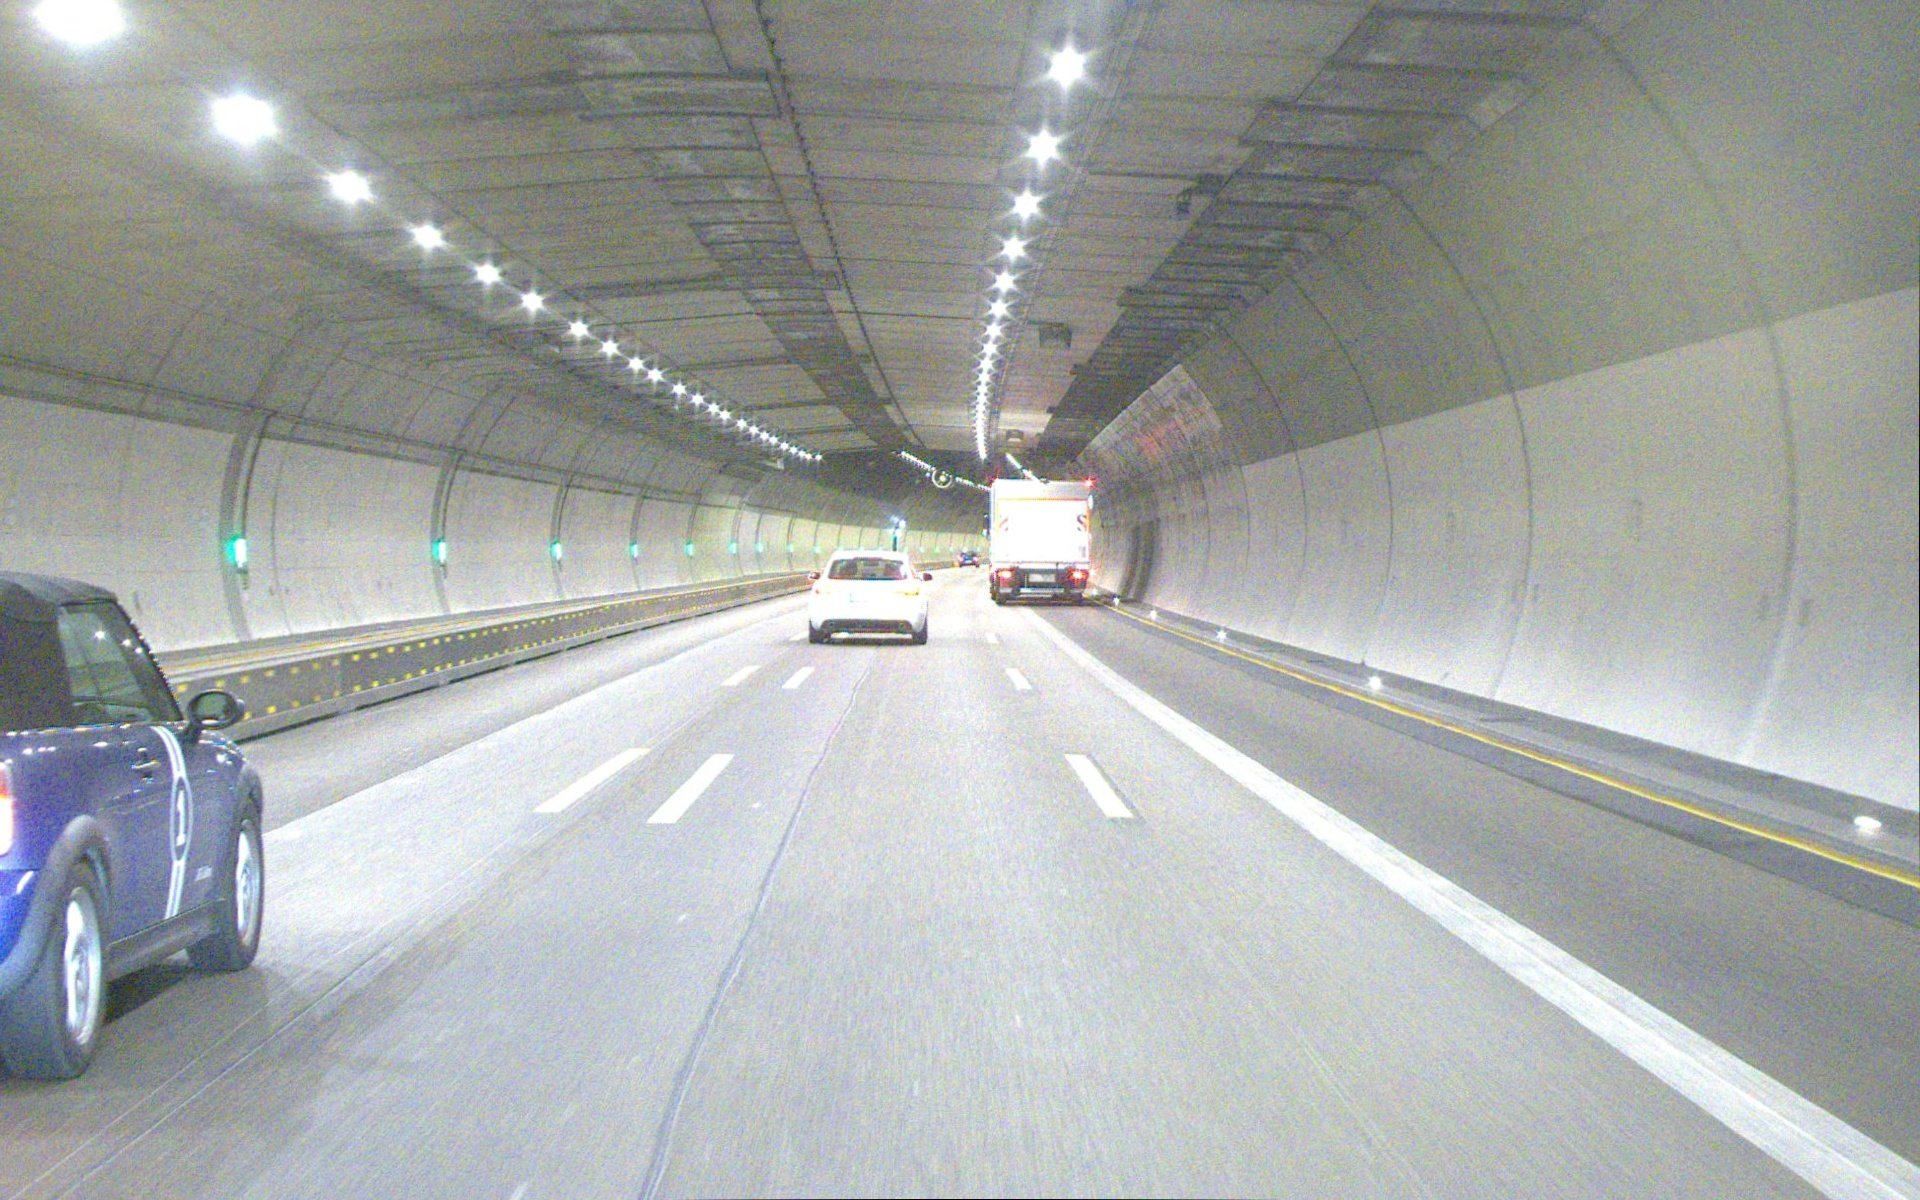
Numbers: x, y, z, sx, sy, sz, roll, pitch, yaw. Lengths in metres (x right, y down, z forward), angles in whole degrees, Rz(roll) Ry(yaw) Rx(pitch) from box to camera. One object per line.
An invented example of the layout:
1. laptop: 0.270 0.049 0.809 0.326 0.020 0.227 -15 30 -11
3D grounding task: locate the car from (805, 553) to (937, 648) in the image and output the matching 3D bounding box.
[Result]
1. car: -1.426 -0.031 54.686 1.993 1.408 4.743 1 1 -2

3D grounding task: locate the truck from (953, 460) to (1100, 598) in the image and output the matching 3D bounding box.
1. truck: 1.772 -1.974 97.112 3.592 3.638 10.723 1 1 -2

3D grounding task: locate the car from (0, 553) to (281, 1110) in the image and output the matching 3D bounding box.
1. car: -3.324 0.566 10.798 1.689 1.412 3.923 1 1 -1
